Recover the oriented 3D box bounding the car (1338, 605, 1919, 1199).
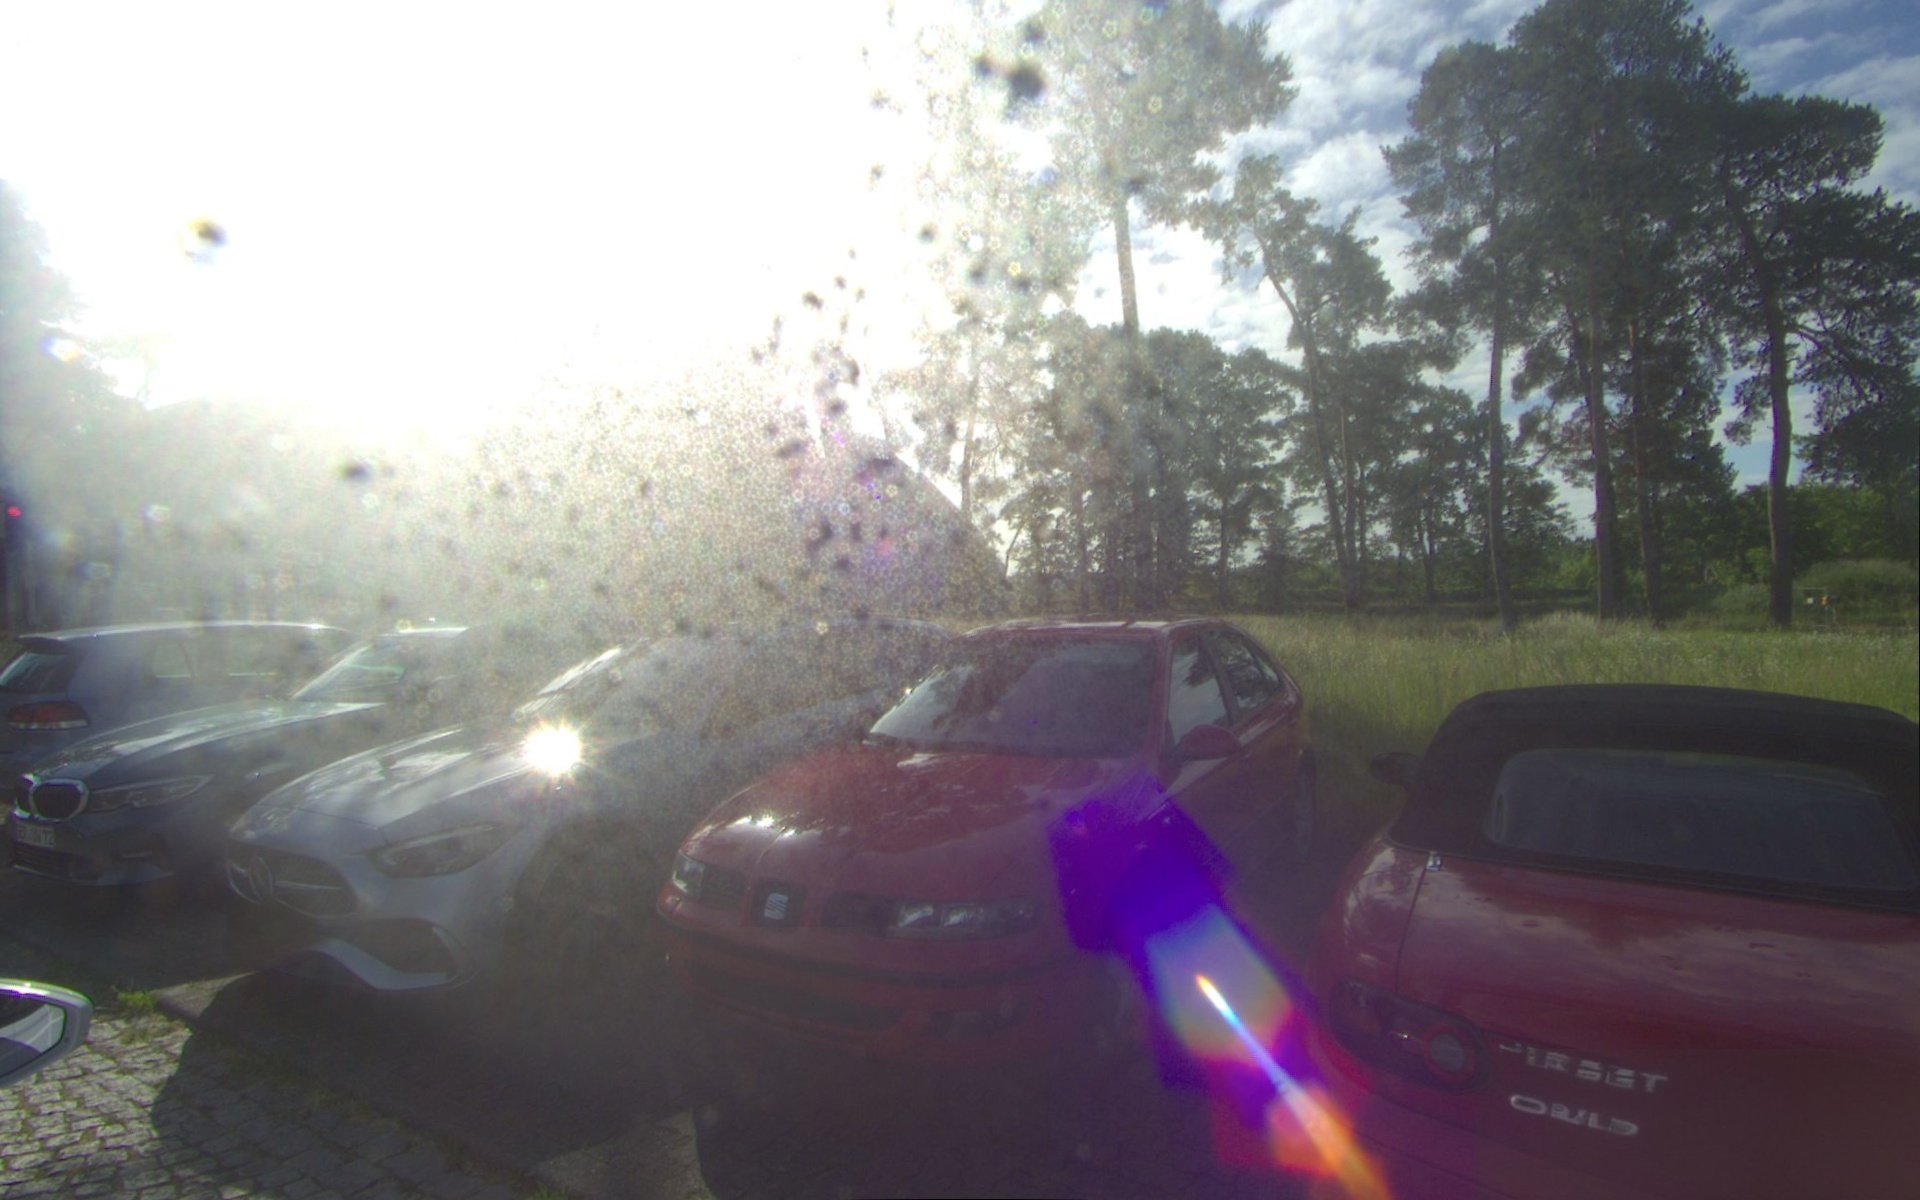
[{"bbox_3d":[2.808,0.698,4.004,1.721,1.240,3.698,0,1,32],"label":"car"}]

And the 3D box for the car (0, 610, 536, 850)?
[{"bbox_3d":[-5.859,0.865,8.562,1.613,1.434,3.872,0,2,32],"label":"car"}]

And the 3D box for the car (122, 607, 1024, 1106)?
[{"bbox_3d":[-1.483,0.828,5.486,1.755,1.434,4.421,0,1,32],"label":"car"}]

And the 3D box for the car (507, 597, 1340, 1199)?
[{"bbox_3d":[0.388,0.774,4.411,1.613,1.469,4.117,0,2,32],"label":"car"}]

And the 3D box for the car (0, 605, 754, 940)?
[{"bbox_3d":[-3.664,0.827,7.046,1.613,1.434,4.548,0,2,32],"label":"car"}]
